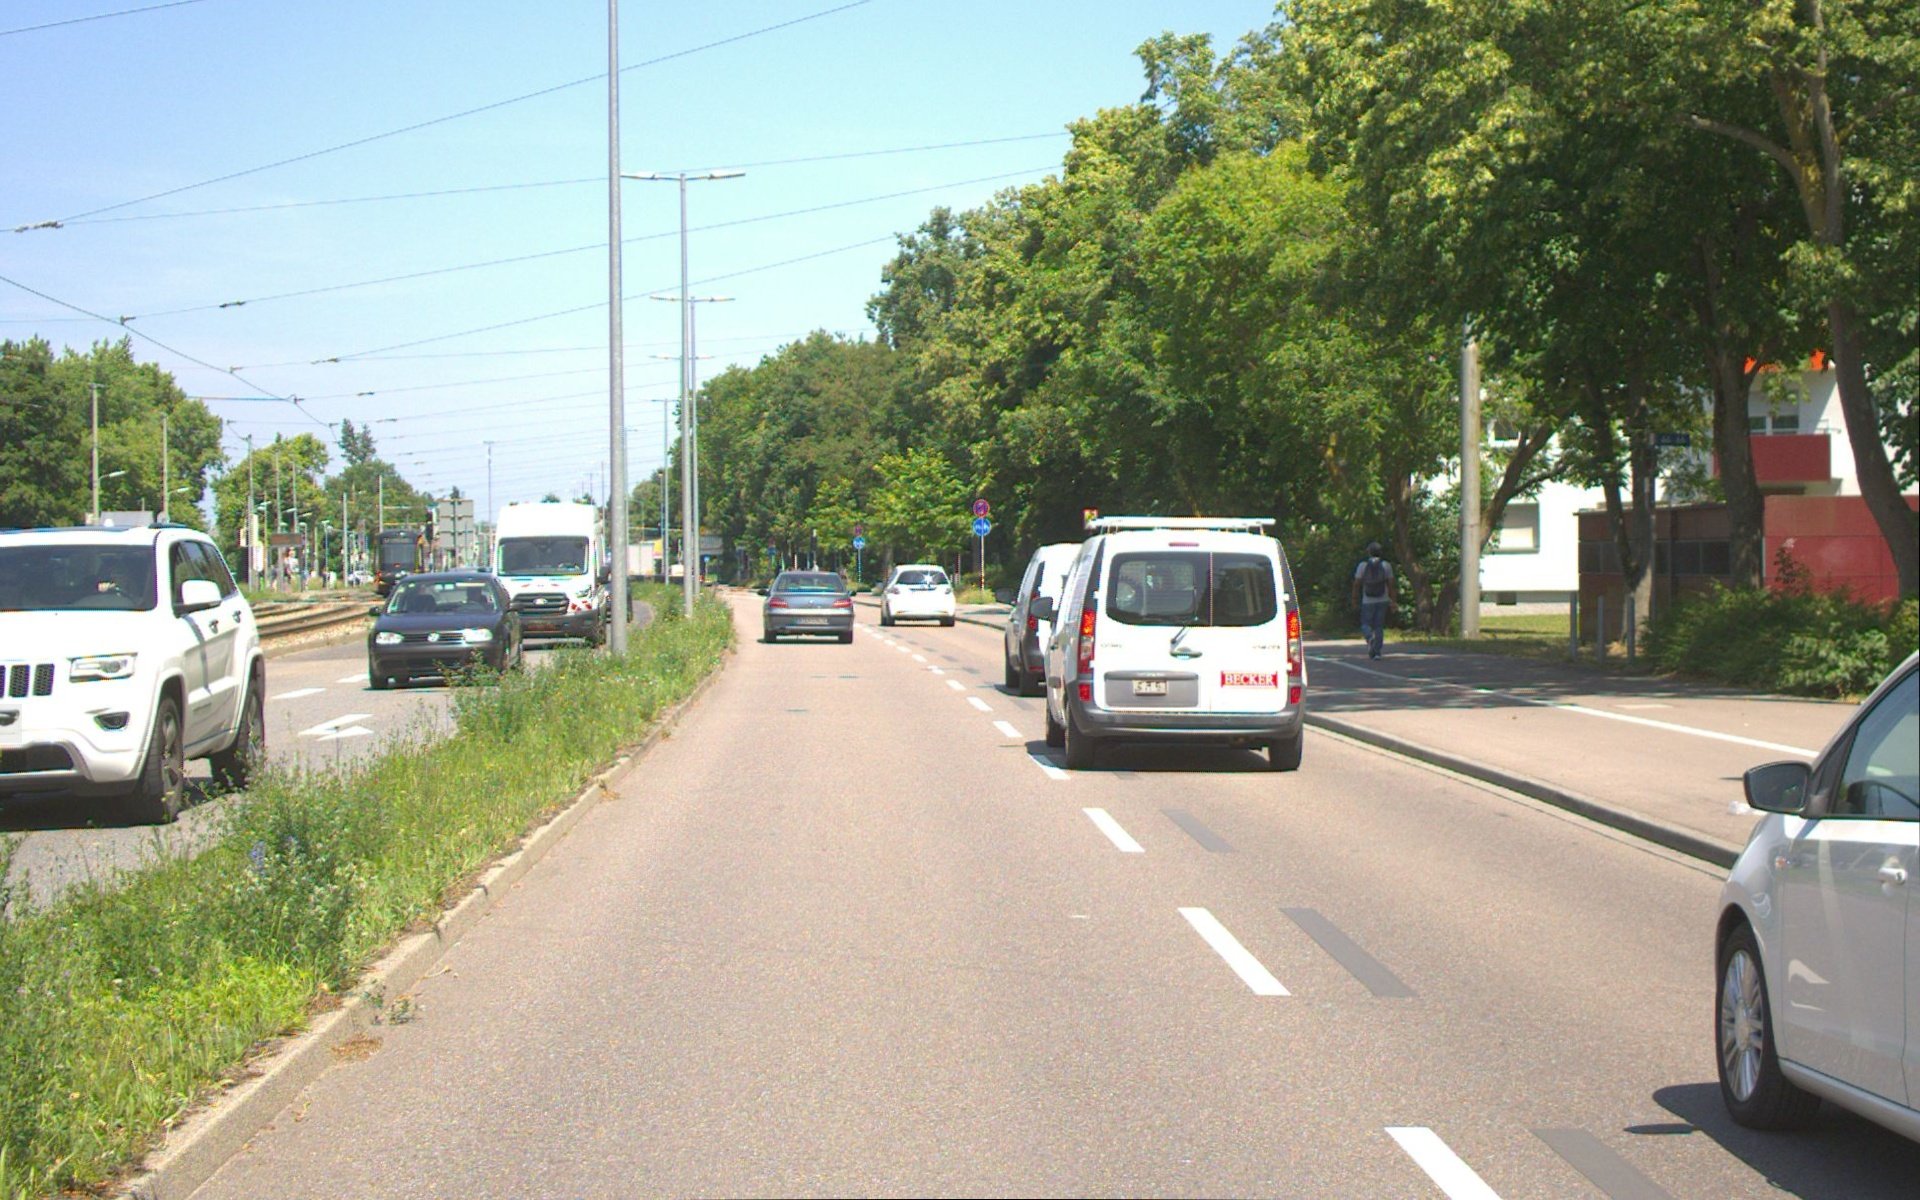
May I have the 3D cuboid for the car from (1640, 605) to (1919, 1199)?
[{"bbox_3d":[2.970,0.770,8.406,1.659,1.444,3.855,1,1,-3],"label":"car"}]

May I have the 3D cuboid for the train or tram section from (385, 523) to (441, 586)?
[{"bbox_3d":[-33.614,-2.783,211.797,2.787,3.655,26.005,0,1,-8],"label":"train or tram section"}]

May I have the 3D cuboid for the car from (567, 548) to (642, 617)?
[{"bbox_3d":[-9.585,-0.496,92.931,1.829,1.750,4.489,-2,1,-4],"label":"car"}]

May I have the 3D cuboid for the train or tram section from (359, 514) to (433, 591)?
[{"bbox_3d":[-29.379,-2.421,180.328,2.787,3.655,37.526,0,1,-8],"label":"train or tram section"}]

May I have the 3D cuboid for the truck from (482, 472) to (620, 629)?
[{"bbox_3d":[-7.560,-0.932,64.041,2.081,2.739,5.547,-2,1,-3],"label":"truck"}]

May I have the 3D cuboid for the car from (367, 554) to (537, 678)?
[{"bbox_3d":[-6.427,0.166,43.849,1.716,1.454,3.914,-1,1,-2],"label":"car"}]

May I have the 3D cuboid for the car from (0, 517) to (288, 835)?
[{"bbox_3d":[-5.530,0.412,21.316,1.900,1.742,4.588,-1,1,-2],"label":"car"}]

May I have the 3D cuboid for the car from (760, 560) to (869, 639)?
[{"bbox_3d":[-2.863,-0.036,66.912,1.801,1.481,4.001,0,1,-7],"label":"car"}]

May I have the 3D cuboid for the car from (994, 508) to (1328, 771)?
[{"bbox_3d":[1.472,0.264,26.961,1.824,1.875,4.457,1,1,-7],"label":"car"}]

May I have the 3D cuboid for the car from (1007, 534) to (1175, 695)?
[{"bbox_3d":[1.528,0.127,41.322,1.727,1.807,4.000,1,1,-1],"label":"car"}]

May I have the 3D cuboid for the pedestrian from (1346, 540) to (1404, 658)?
[{"bbox_3d":[5.822,-0.014,48.270,0.668,1.638,0.856,0,0,-3],"label":"pedestrian"}]

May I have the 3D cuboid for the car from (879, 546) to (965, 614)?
[{"bbox_3d":[-0.981,-0.498,85.824,1.803,1.534,4.001,4,0,-4],"label":"car"}]
